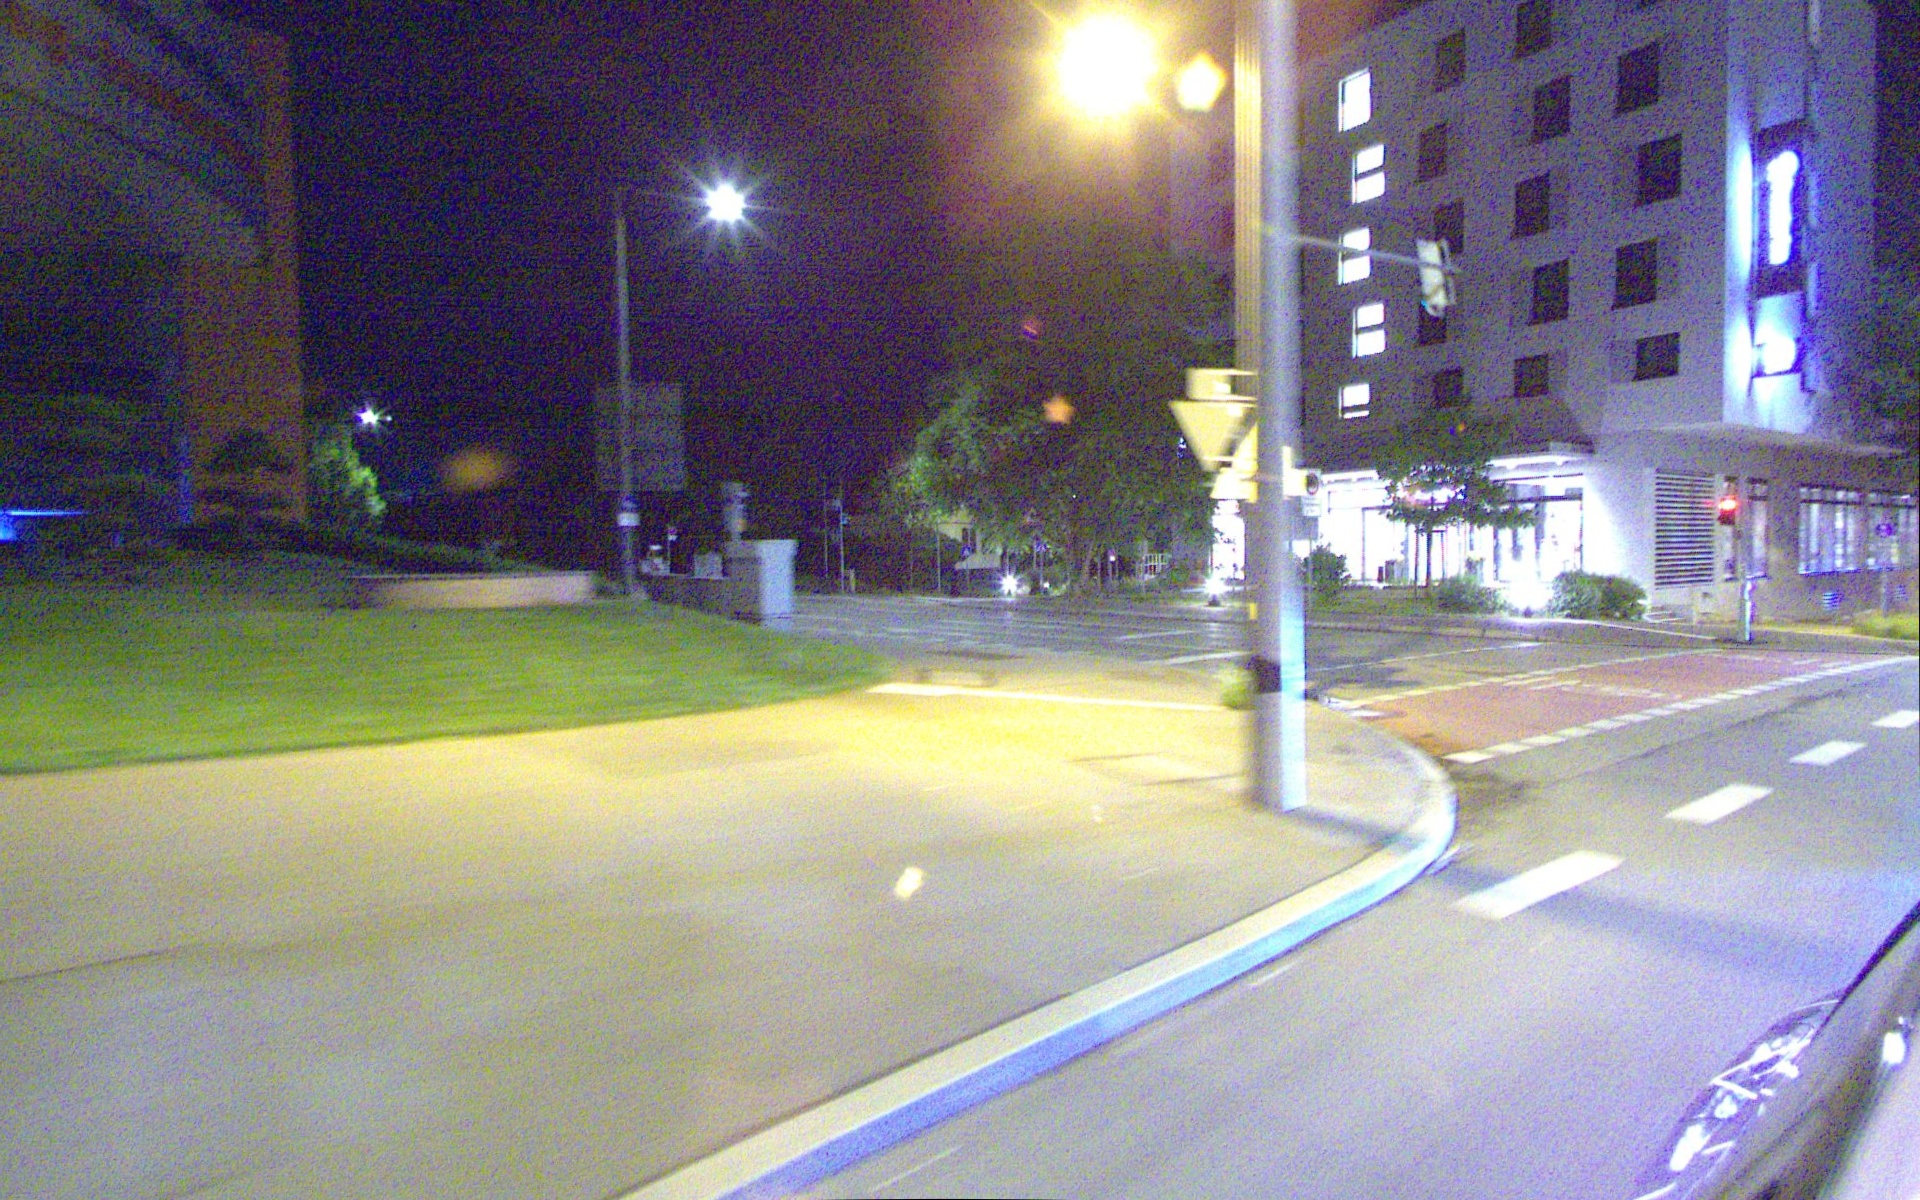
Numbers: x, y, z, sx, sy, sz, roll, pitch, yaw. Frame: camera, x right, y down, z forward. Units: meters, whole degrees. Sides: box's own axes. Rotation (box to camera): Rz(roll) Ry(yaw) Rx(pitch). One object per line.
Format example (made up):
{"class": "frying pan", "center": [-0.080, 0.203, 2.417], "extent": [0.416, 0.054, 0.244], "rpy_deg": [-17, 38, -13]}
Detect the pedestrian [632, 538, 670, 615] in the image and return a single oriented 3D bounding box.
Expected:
{"class": "pedestrian", "center": [-7.821, -0.591, 25.584], "extent": [0.719, 1.900, 0.663], "rpy_deg": [0, 0, -40]}

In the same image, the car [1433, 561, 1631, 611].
{"class": "car", "center": [14.009, -0.364, 24.981], "extent": [3.938, 1.047, 1.479], "rpy_deg": [2, 1, 12]}
